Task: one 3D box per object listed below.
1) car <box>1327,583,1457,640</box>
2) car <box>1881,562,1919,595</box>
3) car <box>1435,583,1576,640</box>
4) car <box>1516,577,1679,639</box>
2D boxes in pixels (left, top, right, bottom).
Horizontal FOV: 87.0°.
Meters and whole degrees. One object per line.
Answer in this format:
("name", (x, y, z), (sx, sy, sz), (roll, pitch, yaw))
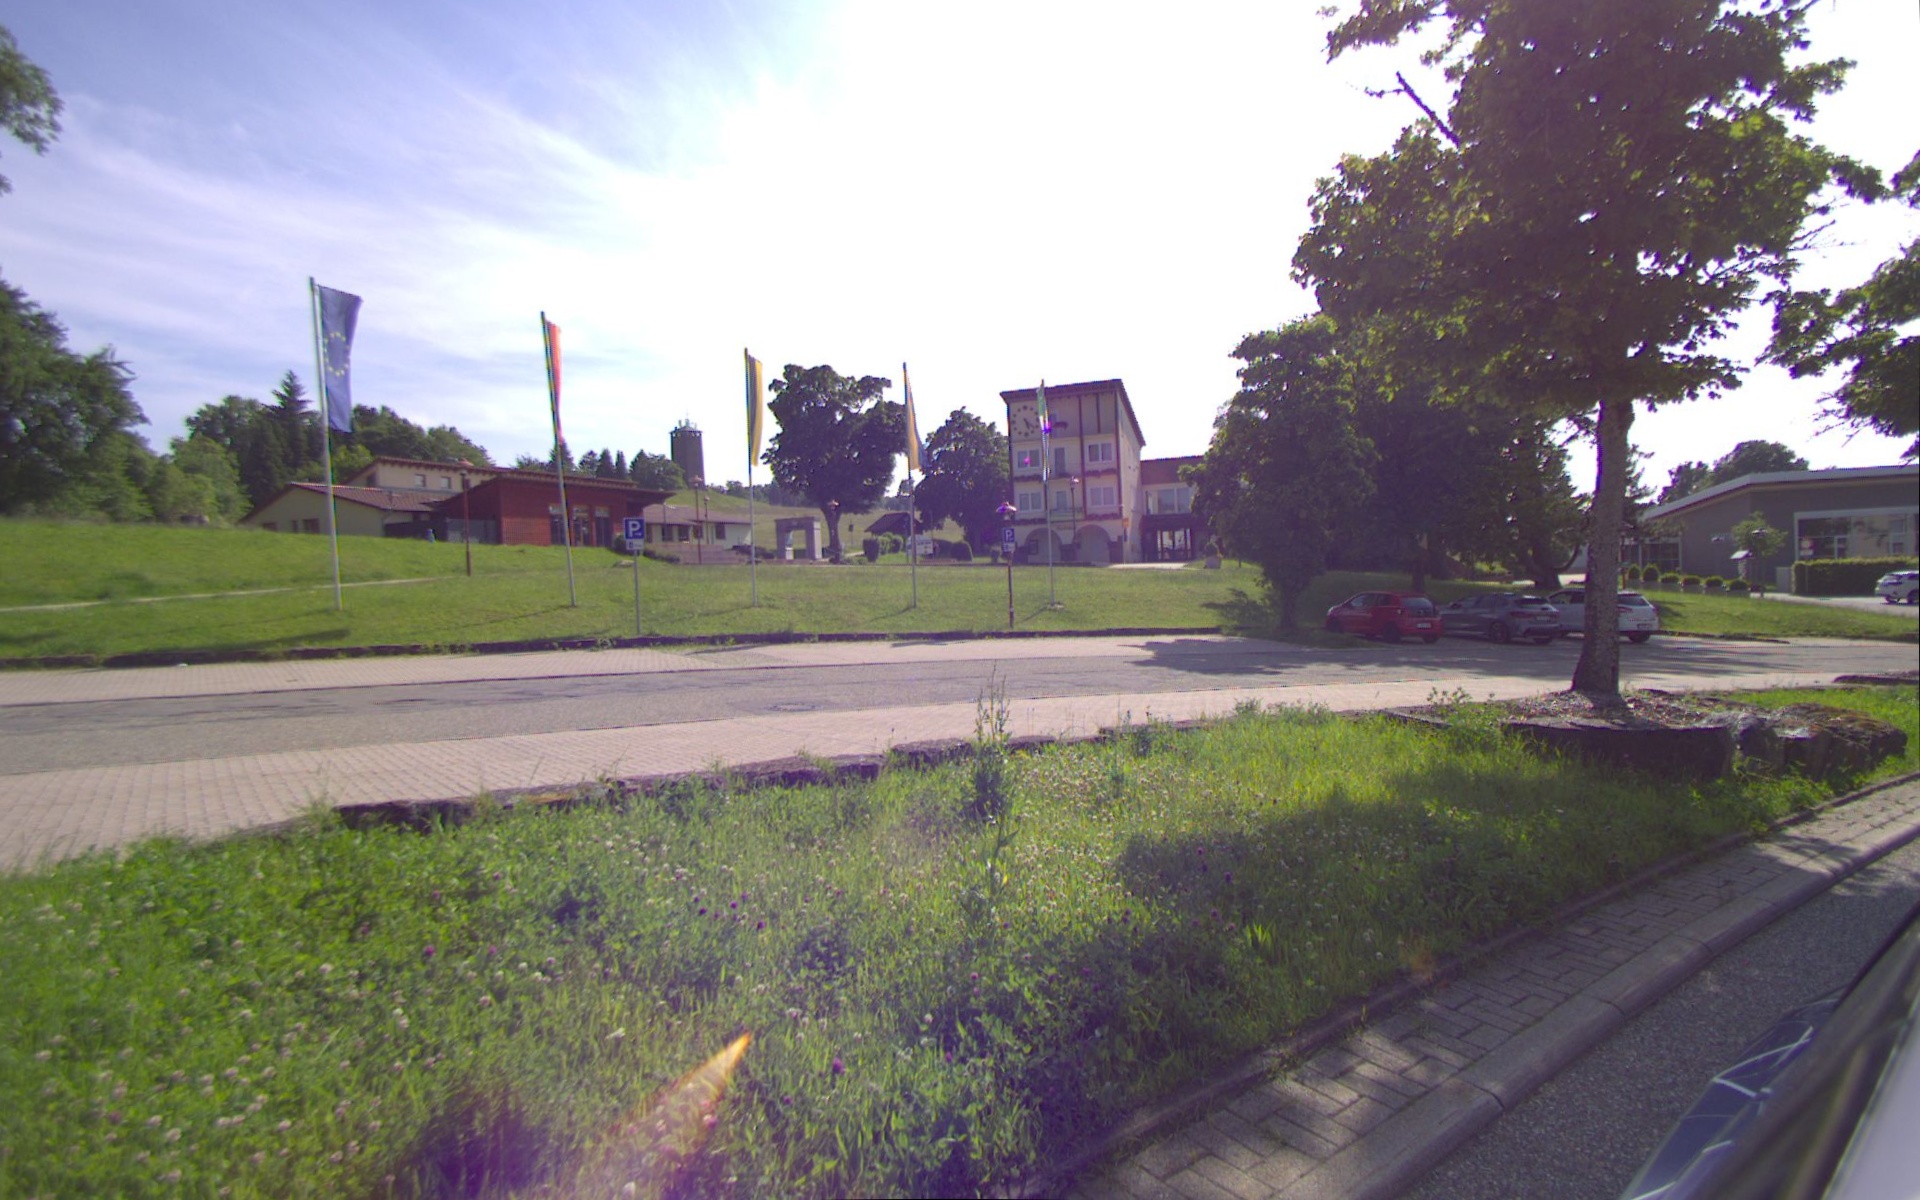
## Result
("car", (12.581, 0.286, 29.678), (1.678, 1.421, 3.322), (-1, 3, -19))
("car", (47.156, -0.993, 48.318), (4.305, 1.533, 1.786), (2, 3, 15))
("car", (16.064, 0.293, 30.010), (1.650, 1.444, 3.549), (1, 3, -14))
("car", (19.785, 0.203, 31.619), (1.958, 1.637, 4.010), (1, 3, -14))
